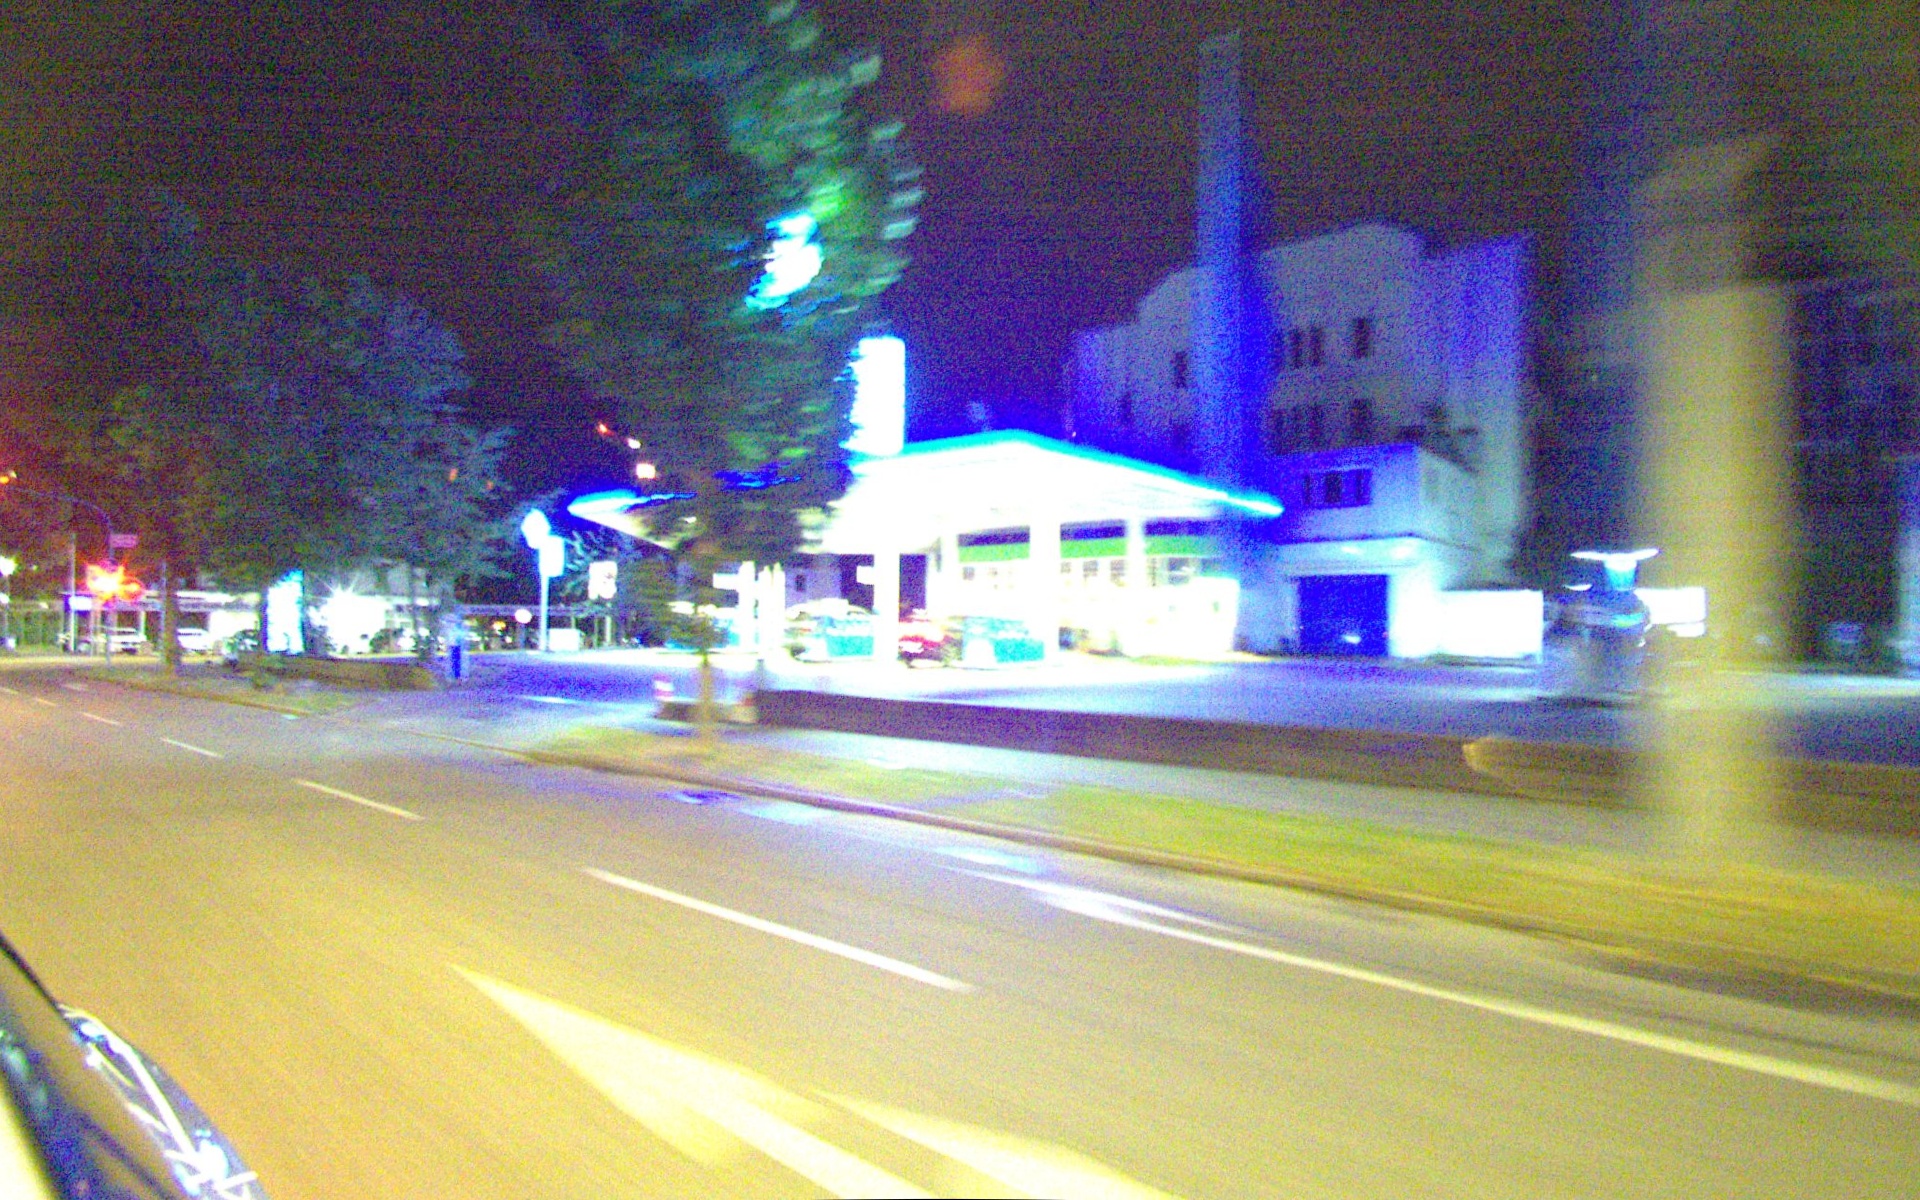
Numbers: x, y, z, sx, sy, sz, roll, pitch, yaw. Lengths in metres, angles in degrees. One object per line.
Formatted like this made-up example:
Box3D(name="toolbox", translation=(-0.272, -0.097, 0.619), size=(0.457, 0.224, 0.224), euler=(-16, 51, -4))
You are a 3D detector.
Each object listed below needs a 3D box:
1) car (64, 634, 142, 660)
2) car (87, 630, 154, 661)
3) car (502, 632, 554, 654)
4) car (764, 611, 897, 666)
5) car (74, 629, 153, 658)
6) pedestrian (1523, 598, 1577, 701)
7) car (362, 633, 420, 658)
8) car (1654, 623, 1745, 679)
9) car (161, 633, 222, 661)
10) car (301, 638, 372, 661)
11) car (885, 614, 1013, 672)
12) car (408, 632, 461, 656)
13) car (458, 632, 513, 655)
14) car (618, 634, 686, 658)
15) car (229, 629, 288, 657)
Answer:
Box3D(name="car", translation=(-54.552, 2.962, 64.485), size=(1.632, 1.598, 3.531), euler=(-1, -3, 39))
Box3D(name="car", translation=(-44.844, 2.397, 54.030), size=(4.383, 1.569, 1.974), euler=(-2, -2, 39))
Box3D(name="car", translation=(-30.456, 3.037, 71.330), size=(4.024, 1.489, 1.758), euler=(-2, -2, 40))
Box3D(name="car", translation=(-4.334, 1.255, 34.311), size=(1.977, 1.740, 4.302), euler=(-2, -2, 40))
Box3D(name="car", translation=(-52.464, 2.682, 62.749), size=(1.633, 1.712, 3.530), euler=(-1, -3, 40))
Box3D(name="pedestrian", translation=(9.464, 0.781, 16.228), size=(0.642, 1.618, 0.570), euler=(-1, -2, 39))
Box3D(name="car", translation=(-36.165, 2.888, 64.319), size=(4.350, 1.489, 1.840), euler=(-2, -2, 40))
Box3D(name="car", translation=(18.127, 1.226, 24.757), size=(1.573, 1.275, 3.116), euler=(-2, -3, 40))
Box3D(name="car", translation=(-42.768, 2.574, 56.306), size=(4.067, 1.472, 1.840), euler=(-2, -2, 40))
Box3D(name="car", translation=(-42.818, 3.377, 69.605), size=(1.716, 1.489, 4.257), euler=(-1, -1, 13))
Box3D(name="car", translation=(-0.259, 1.239, 29.090), size=(1.669, 1.544, 3.712), euler=(-2, -3, 40))
Box3D(name="car", translation=(-34.562, 2.878, 66.534), size=(4.083, 1.489, 1.710), euler=(-2, -2, 40))
Box3D(name="car", translation=(-32.234, 2.909, 68.681), size=(4.083, 1.489, 1.840), euler=(-2, -2, 40))
Box3D(name="car", translation=(-19.110, 2.845, 62.912), size=(1.735, 1.422, 3.803), euler=(-2, -2, 39))
Box3D(name="car", translation=(-40.891, 2.486, 58.986), size=(4.067, 1.565, 1.840), euler=(-2, -2, 40))
